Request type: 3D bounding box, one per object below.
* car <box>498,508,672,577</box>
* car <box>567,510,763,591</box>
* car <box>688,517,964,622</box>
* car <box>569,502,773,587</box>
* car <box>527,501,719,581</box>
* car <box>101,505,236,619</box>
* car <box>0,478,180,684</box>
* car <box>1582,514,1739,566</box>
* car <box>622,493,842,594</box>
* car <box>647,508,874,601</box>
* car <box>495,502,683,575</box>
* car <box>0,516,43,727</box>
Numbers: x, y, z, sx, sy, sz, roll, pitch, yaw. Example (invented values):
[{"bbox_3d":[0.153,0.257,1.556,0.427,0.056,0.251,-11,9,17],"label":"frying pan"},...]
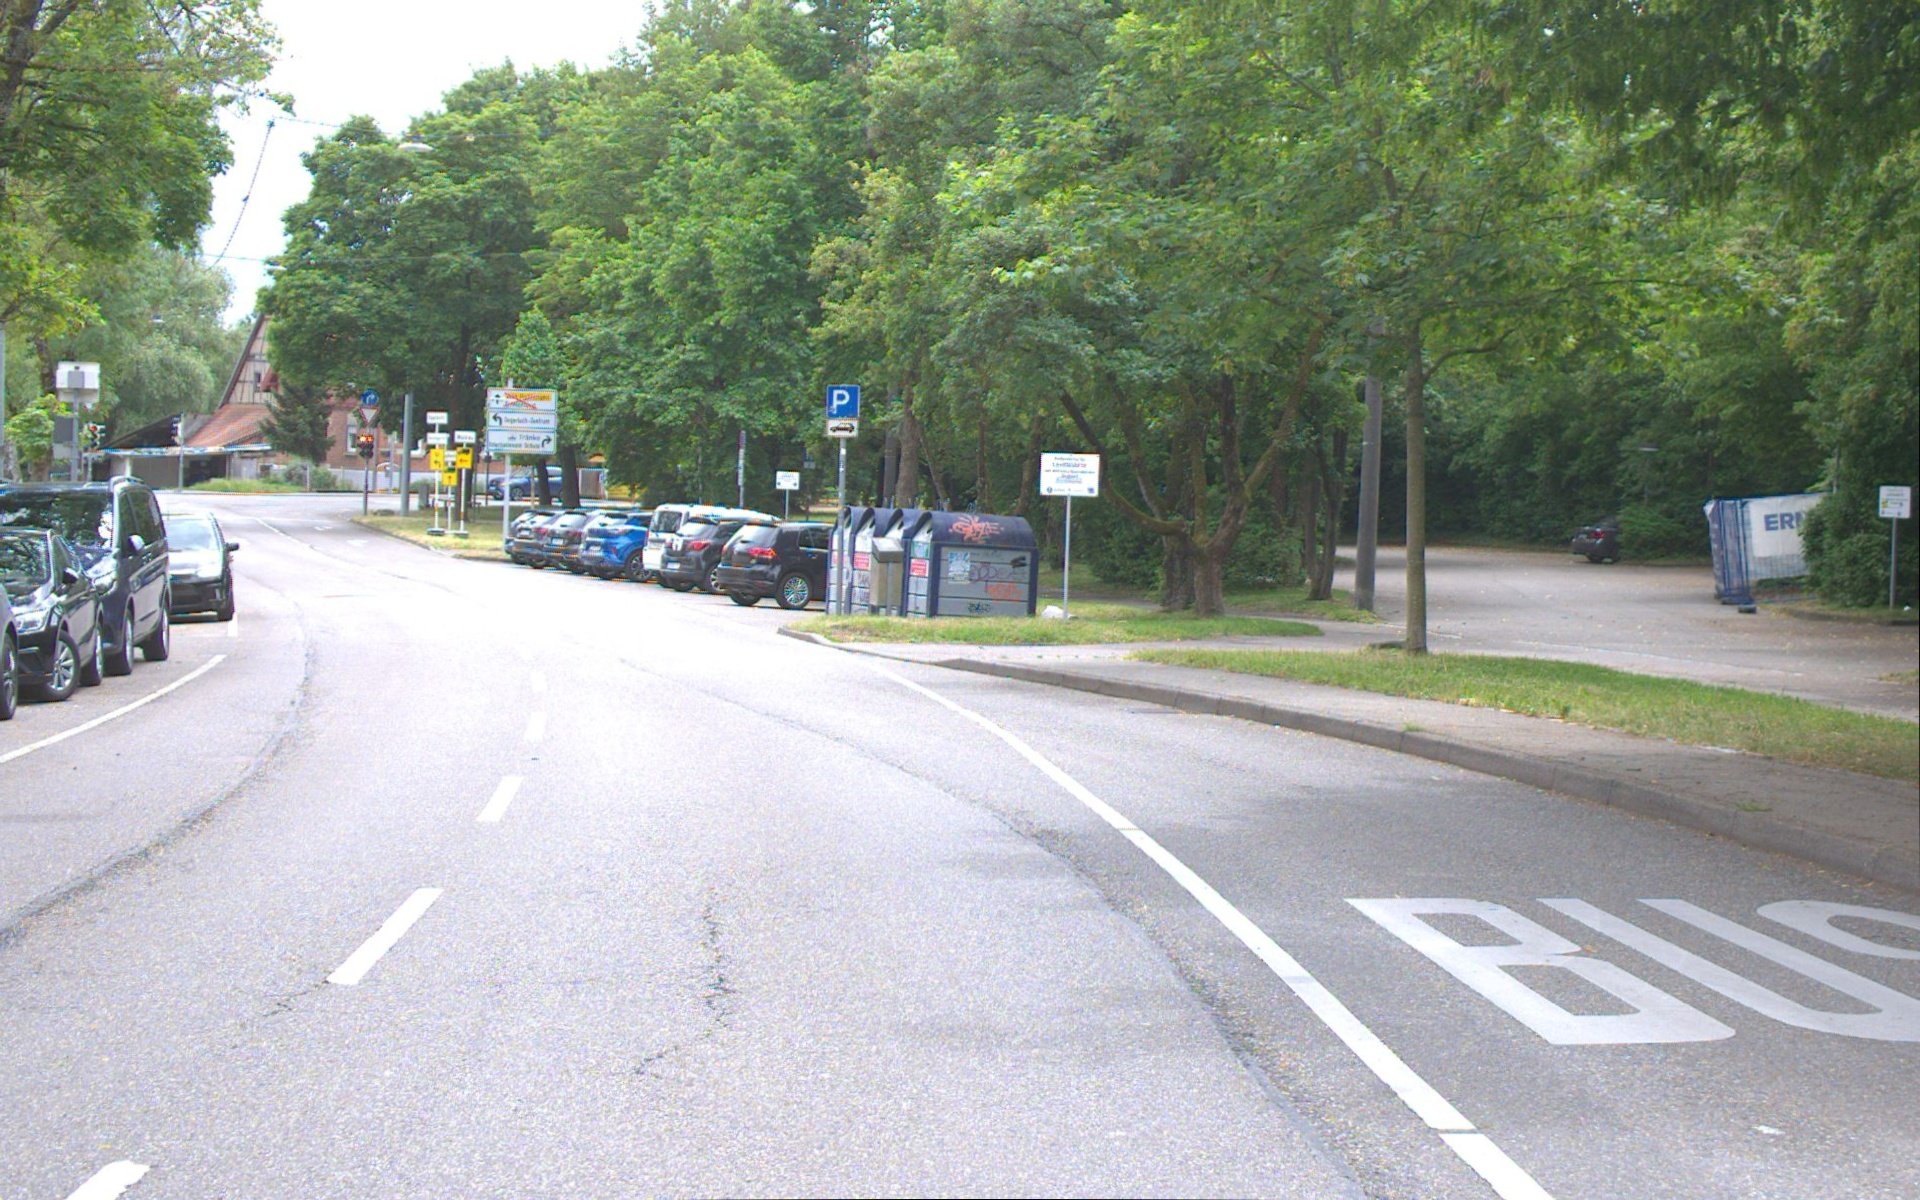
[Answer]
[{"bbox_3d":[-9.249,-1.416,84.853,3.818,1.420,1.746,4,0,-33],"label":"car"},{"bbox_3d":[-6.457,-1.076,75.302,3.818,1.523,1.746,4,0,-33],"label":"car"},{"bbox_3d":[-2.213,-0.503,57.032,3.987,1.409,2.058,4,2,-33],"label":"car"},{"bbox_3d":[-6.074,-1.162,72.395,3.818,1.523,1.746,4,0,-33],"label":"car"},{"bbox_3d":[-7.547,-1.321,77.078,3.818,1.523,1.746,4,0,-33],"label":"car"},{"bbox_3d":[-11.639,-0.587,50.725,1.804,1.557,4.268,-2,2,-12],"label":"car"},{"bbox_3d":[-9.025,-0.239,34.519,1.857,1.902,5.084,1,1,-8],"label":"car"},{"bbox_3d":[19.970,-1.705,98.112,3.986,1.405,1.801,1,1,-8],"label":"car"},{"bbox_3d":[-4.496,-1.115,67.886,3.818,1.714,1.878,4,0,-33],"label":"car"},{"bbox_3d":[-3.766,-0.860,65.058,3.818,1.463,1.746,4,1,-33],"label":"car"},{"bbox_3d":[-8.641,-1.426,80.077,3.873,1.421,1.830,4,0,-33],"label":"car"},{"bbox_3d":[-7.866,0.156,24.558,1.866,1.533,4.228,1,1,-6],"label":"car"}]
